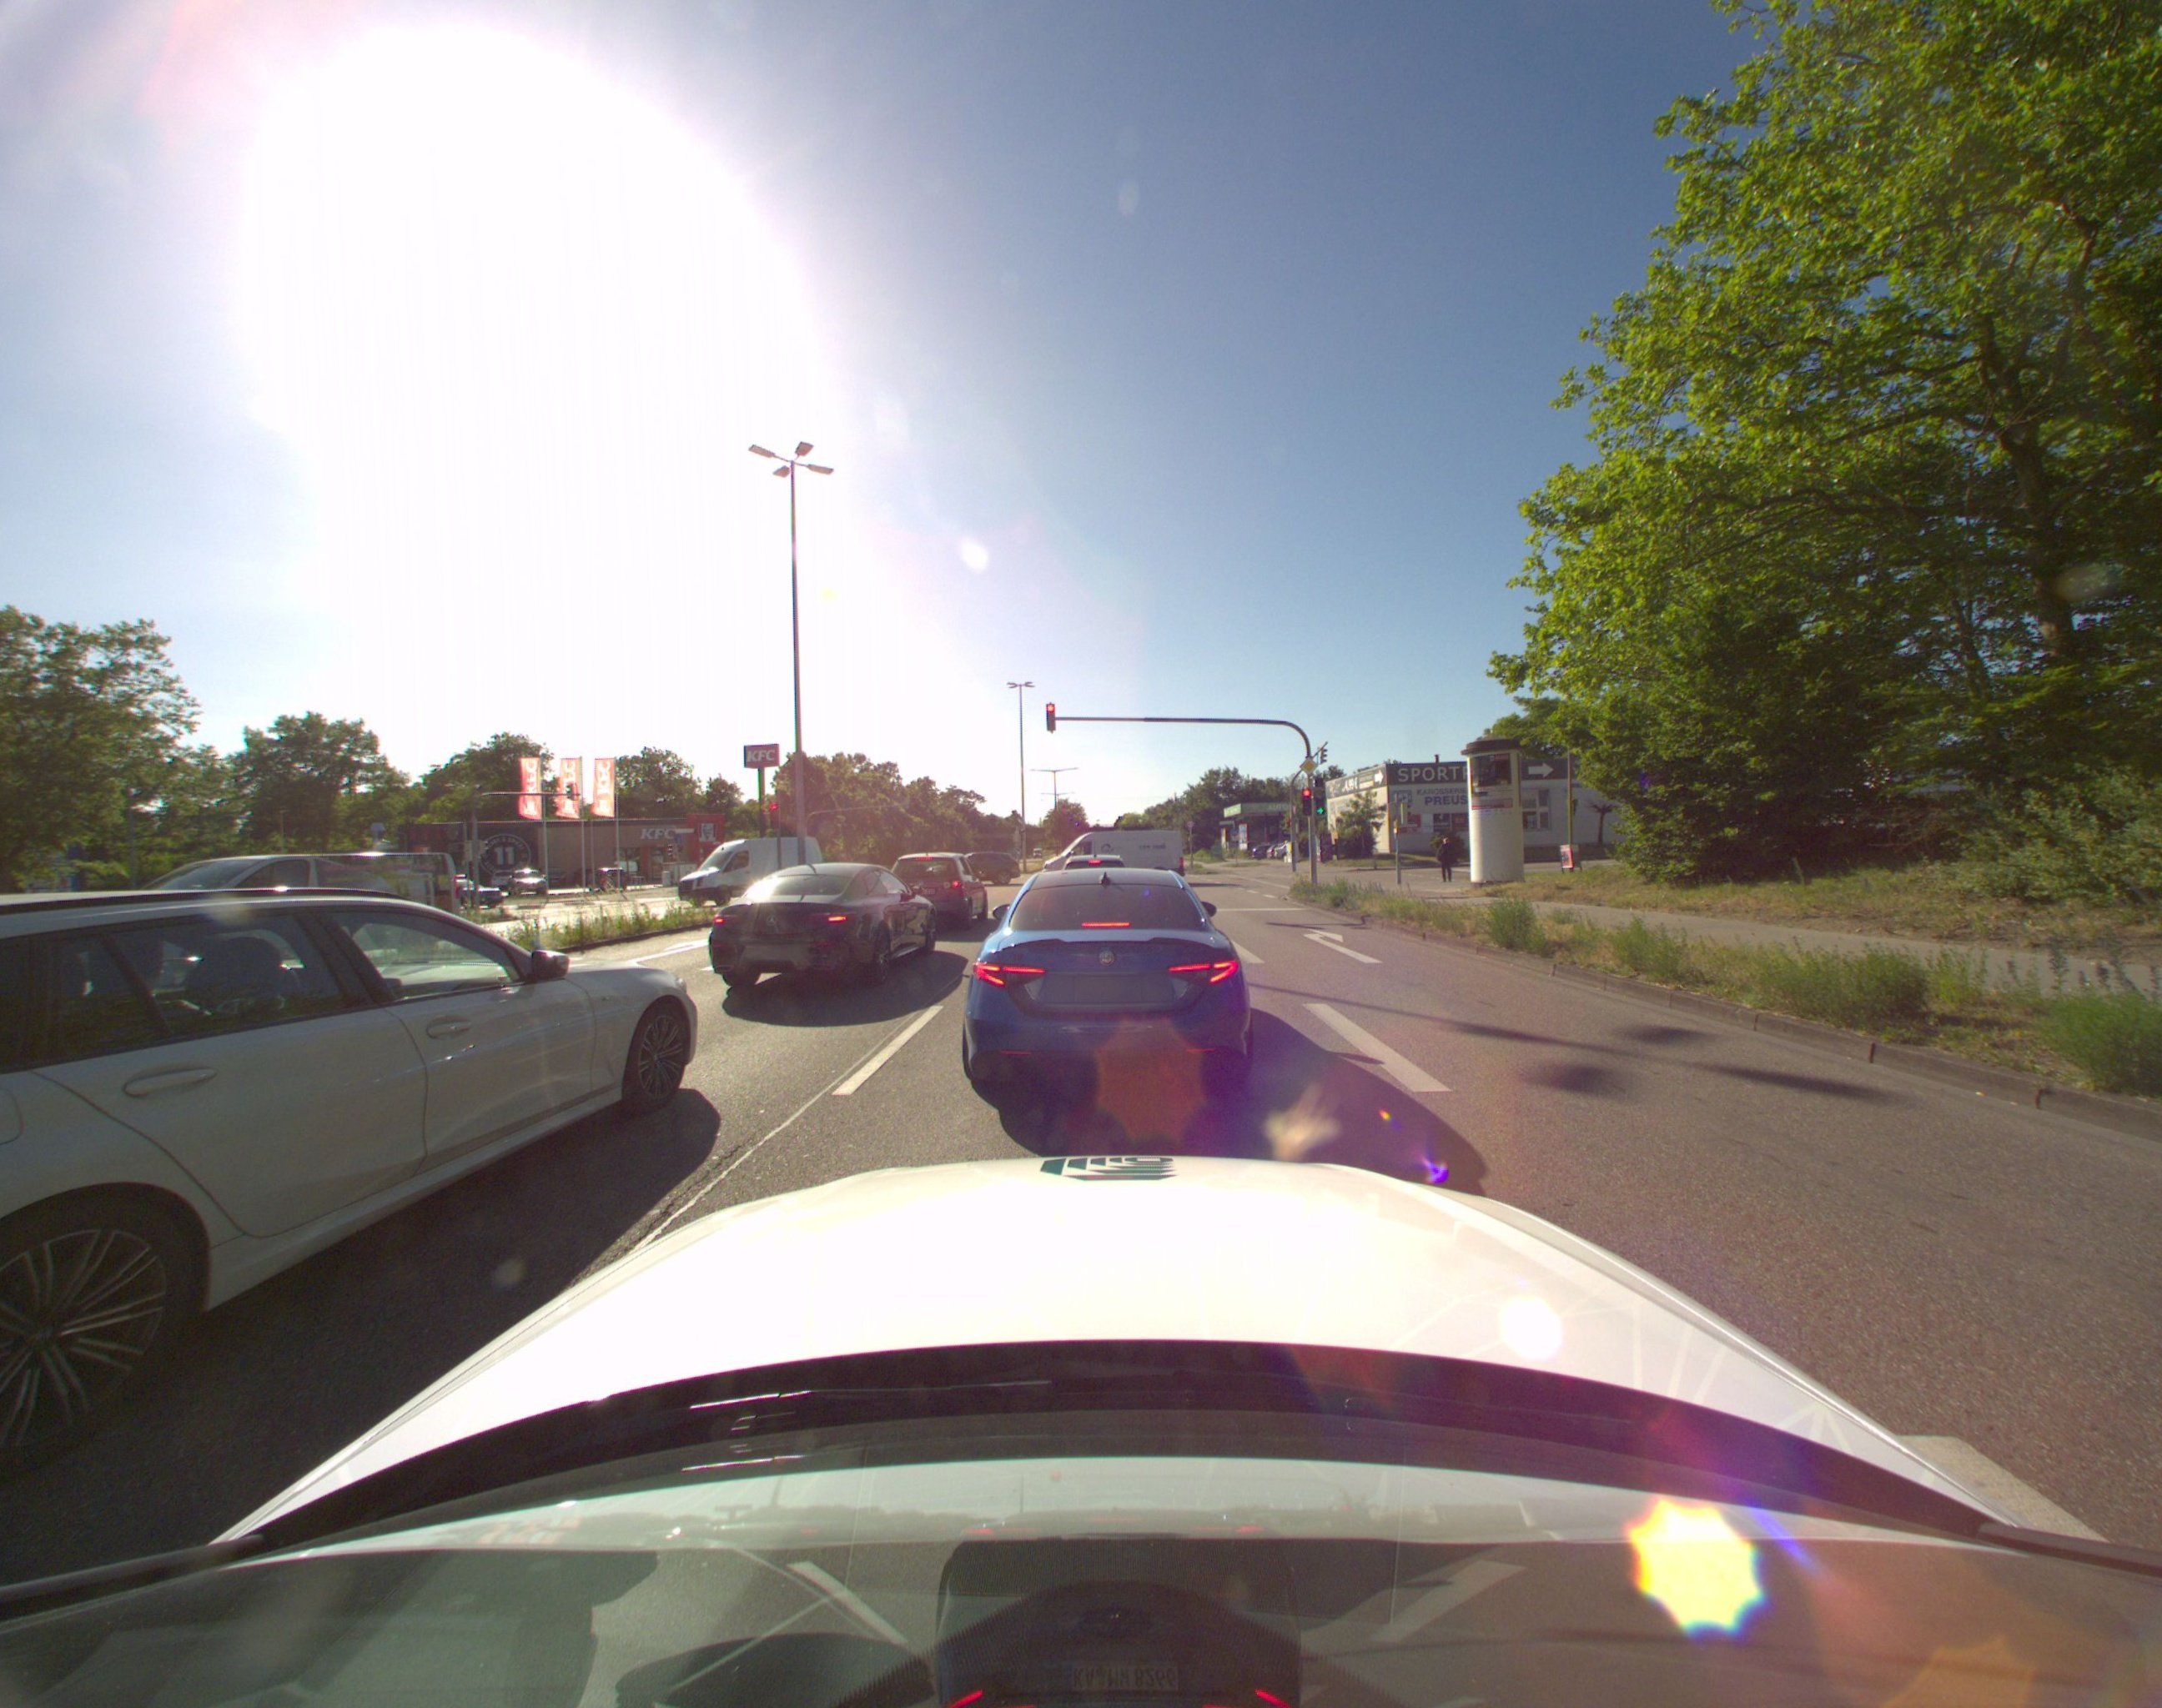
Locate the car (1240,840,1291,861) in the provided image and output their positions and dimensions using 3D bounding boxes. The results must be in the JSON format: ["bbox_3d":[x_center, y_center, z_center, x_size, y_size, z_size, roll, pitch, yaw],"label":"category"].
[{"bbox_3d":[16.038,-0.291,70.759,3.997,1.706,1.685,-1,0,-18],"label":"car"}]

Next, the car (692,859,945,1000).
[{"bbox_3d":[-3.148,0.811,10.833,1.762,1.414,4.463,-1,0,2],"label":"car"}]

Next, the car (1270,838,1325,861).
[{"bbox_3d":[17.508,-0.360,65.865,3.993,1.706,1.687,-1,0,-15],"label":"car"}]

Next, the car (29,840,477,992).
[{"bbox_3d":[-13.541,0.861,13.947,1.981,2.013,5.040,-4,0,10],"label":"car"}]

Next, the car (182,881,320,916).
[{"bbox_3d":[-39.252,2.078,38.579,4.701,1.429,1.865,-1,1,2],"label":"car"}]

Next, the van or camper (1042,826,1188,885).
[{"bbox_3d":[1.551,0.060,39.044,6.721,2.572,2.181,-1,0,-5],"label":"van or camper"}]

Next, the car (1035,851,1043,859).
[{"bbox_3d":[-10.235,0.240,199.280,1.817,1.694,3.836,-1,0,0],"label":"car"}]

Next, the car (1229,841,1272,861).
[{"bbox_3d":[15.381,-0.255,73.967,3.489,1.706,1.687,-1,0,-14],"label":"car"}]

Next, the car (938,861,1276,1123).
[{"bbox_3d":[0.203,0.786,6.504,1.859,1.385,3.933,-1,0,2],"label":"car"}]

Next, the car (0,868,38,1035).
[{"bbox_3d":[-11.947,1.027,6.329,1.872,1.690,4.437,-1,0,1],"label":"car"}]

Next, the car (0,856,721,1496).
[{"bbox_3d":[-3.435,0.796,3.360,1.762,1.509,4.463,-1,0,2],"label":"car"}]

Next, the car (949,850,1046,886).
[{"bbox_3d":[-4.250,0.684,41.151,4.608,1.653,1.989,-1,0,-16],"label":"car"}]

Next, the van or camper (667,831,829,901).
[{"bbox_3d":[-13.546,0.426,33.624,1.974,2.651,5.995,-1,0,36],"label":"van or camper"}]

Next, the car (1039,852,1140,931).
[{"bbox_3d":[0.227,0.700,17.196,1.859,1.450,3.933,-1,0,2],"label":"car"}]

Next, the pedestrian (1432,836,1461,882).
[{"bbox_3d":[14.179,0.183,31.607,0.818,1.721,0.856,-2,0,9],"label":"pedestrian"}]

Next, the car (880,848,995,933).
[{"bbox_3d":[-2.995,0.697,17.742,1.642,1.598,3.933,-1,0,2],"label":"car"}]
